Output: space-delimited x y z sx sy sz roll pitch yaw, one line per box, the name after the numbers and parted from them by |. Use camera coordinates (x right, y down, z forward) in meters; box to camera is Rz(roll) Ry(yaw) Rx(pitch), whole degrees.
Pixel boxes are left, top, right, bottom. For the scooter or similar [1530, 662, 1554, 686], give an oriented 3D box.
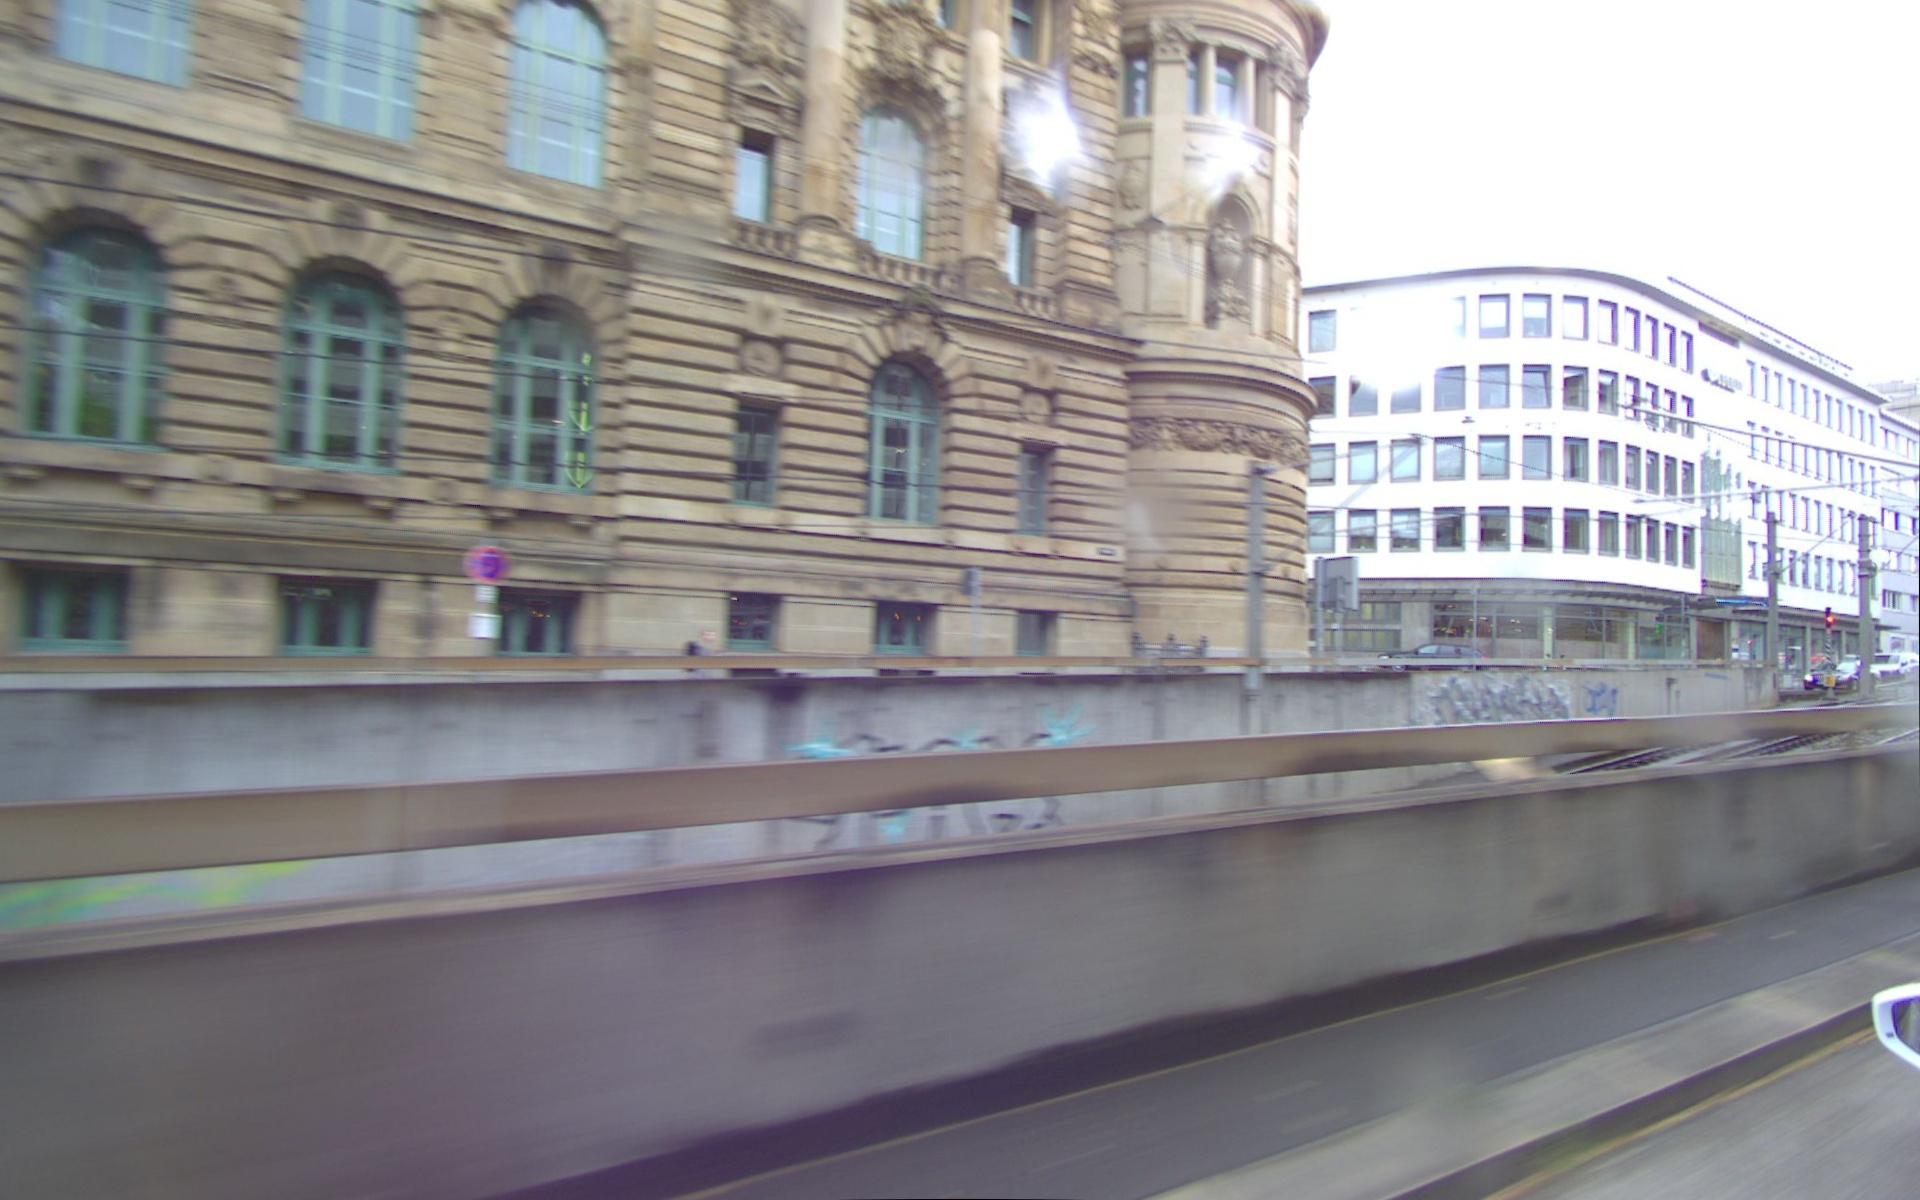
27.166 3.445 46.899 0.539 1.058 0.820 2 -2 -18 | scooter or similar

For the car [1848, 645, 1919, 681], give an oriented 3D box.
52.478 3.577 57.011 4.877 1.907 1.981 3 -2 -34 | car

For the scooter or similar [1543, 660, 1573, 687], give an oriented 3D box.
27.423 3.374 46.049 1.169 1.194 0.545 2 -2 -19 | scooter or similar

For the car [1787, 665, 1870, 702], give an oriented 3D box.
39.165 3.736 45.297 3.625 1.547 1.981 3 -2 -34 | car

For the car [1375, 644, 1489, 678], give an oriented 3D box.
22.005 2.880 47.046 4.687 1.541 1.676 -2 -4 21 | car
